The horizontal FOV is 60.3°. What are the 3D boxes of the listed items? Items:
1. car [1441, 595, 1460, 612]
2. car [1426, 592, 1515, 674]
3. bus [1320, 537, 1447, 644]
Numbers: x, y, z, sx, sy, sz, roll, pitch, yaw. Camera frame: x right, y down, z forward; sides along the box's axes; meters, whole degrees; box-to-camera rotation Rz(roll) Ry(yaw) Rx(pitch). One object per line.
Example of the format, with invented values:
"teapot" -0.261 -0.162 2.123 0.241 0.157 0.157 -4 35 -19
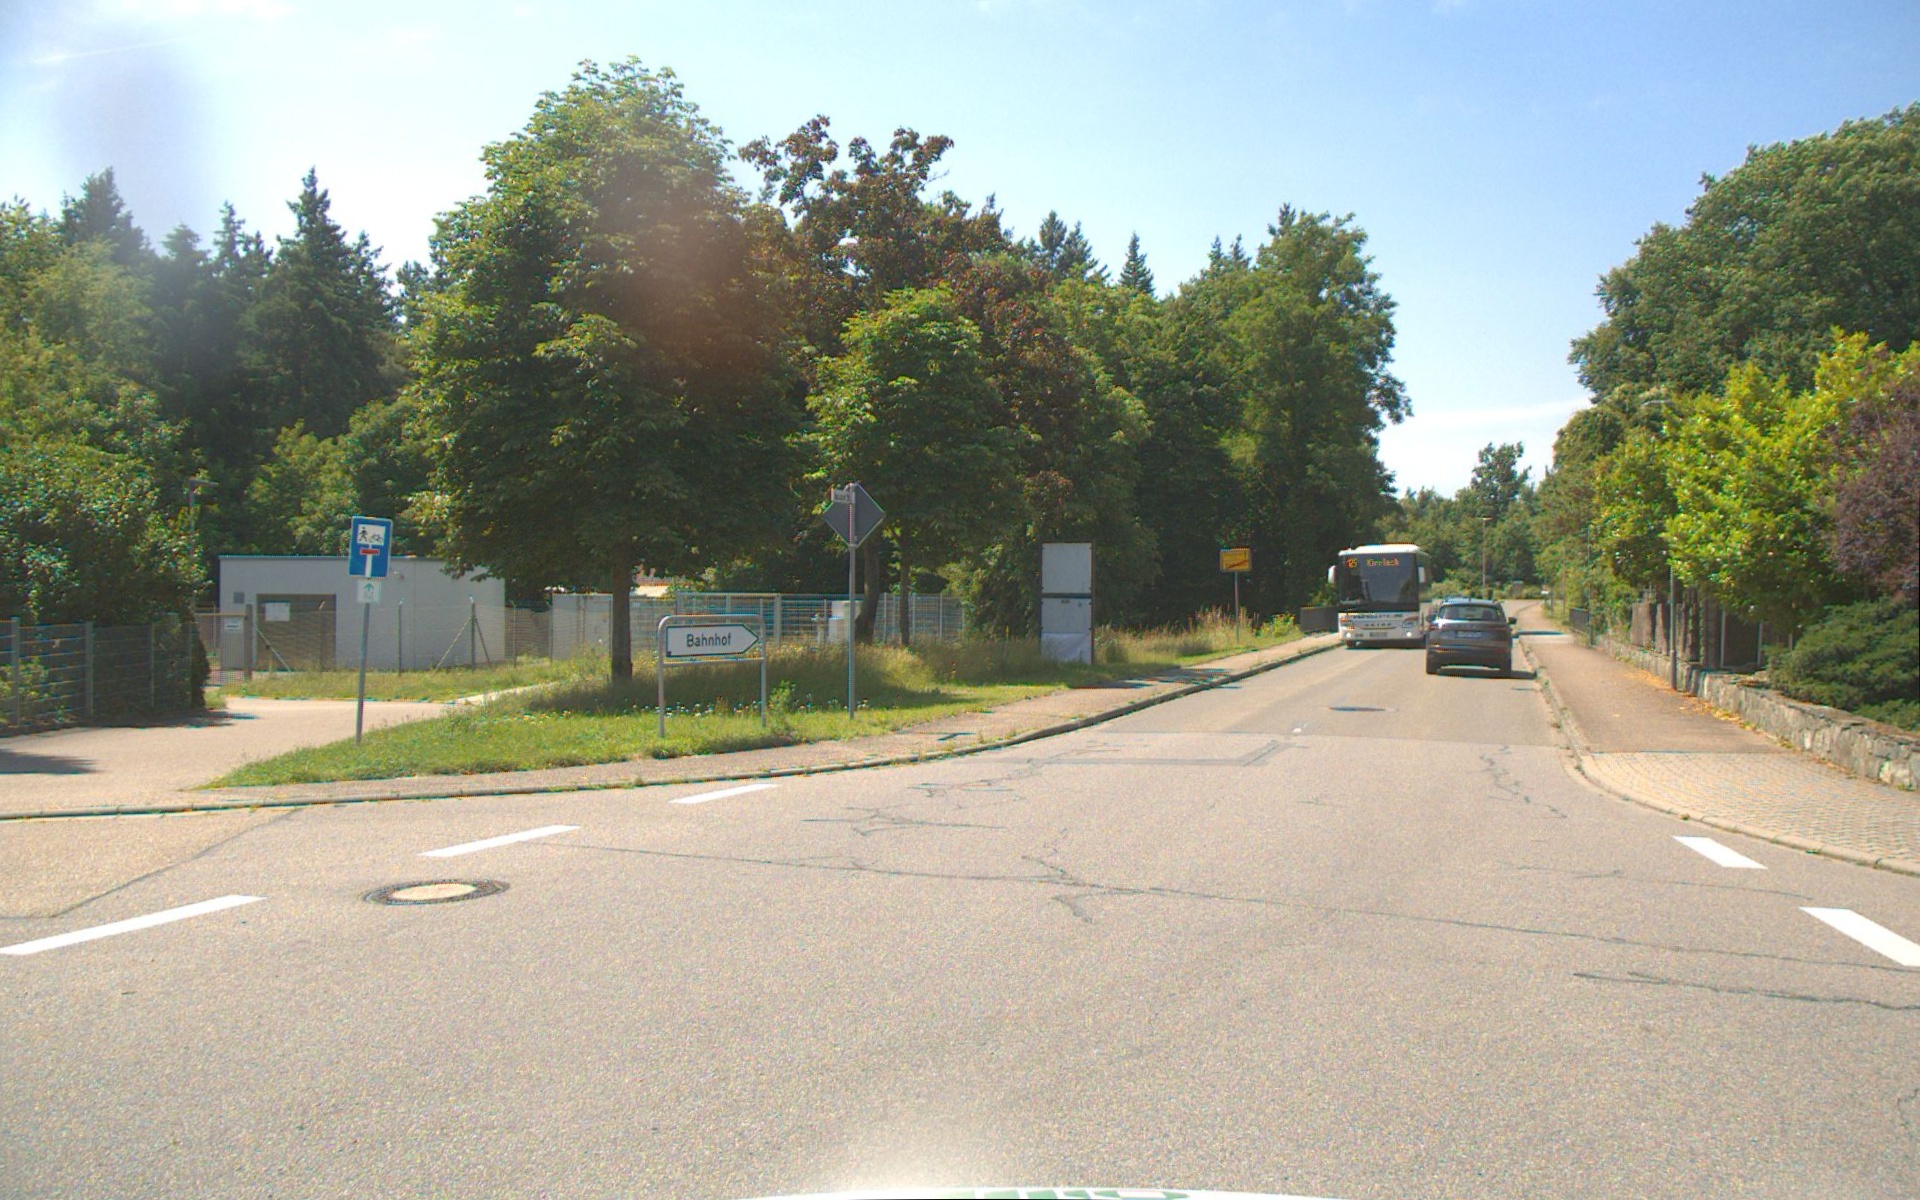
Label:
"car" 55.404 0.438 186.689 1.909 1.892 4.003 0 0 14
"car" 11.248 0.695 36.288 1.725 1.646 4.001 1 0 19
"bus" 14.943 -0.315 57.526 3.115 3.301 12.715 0 0 20
